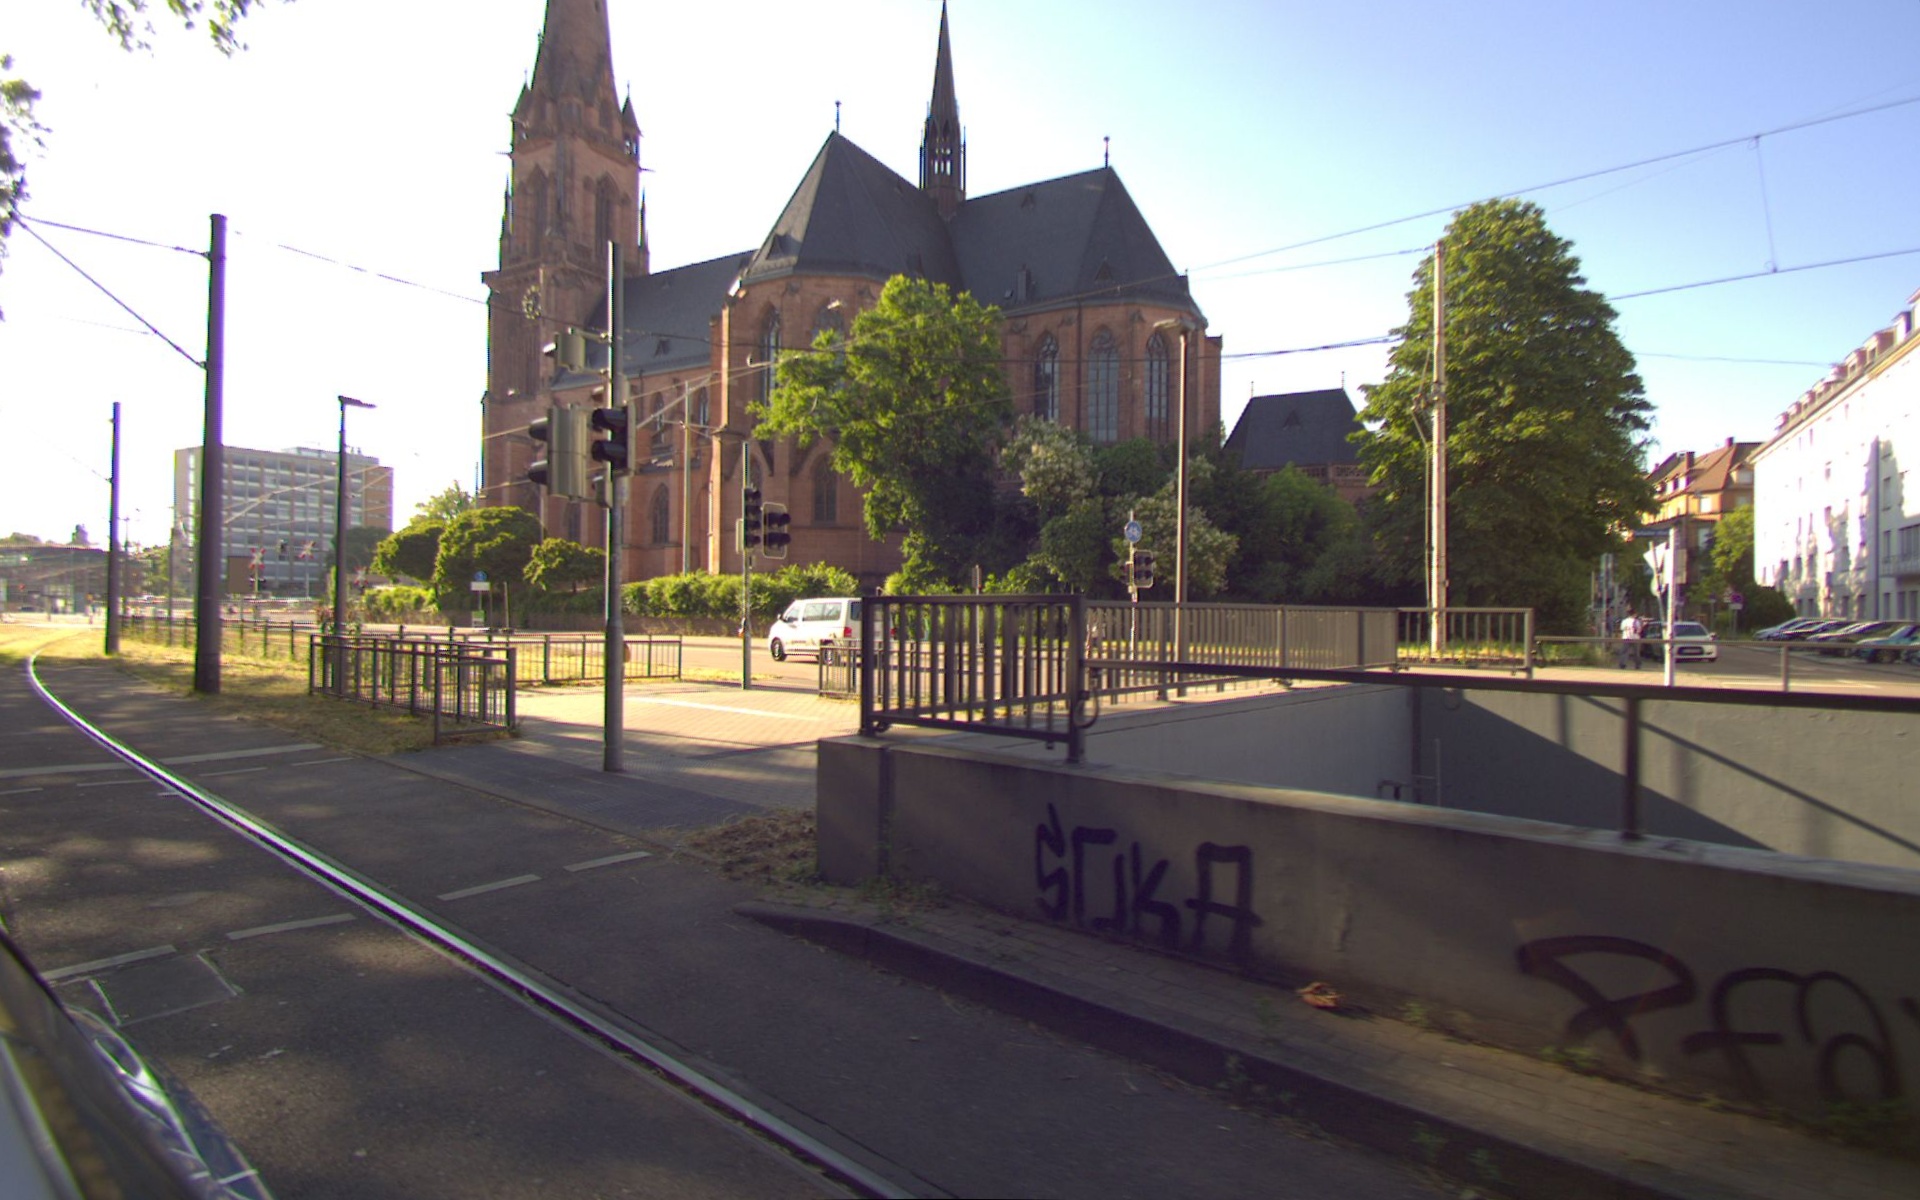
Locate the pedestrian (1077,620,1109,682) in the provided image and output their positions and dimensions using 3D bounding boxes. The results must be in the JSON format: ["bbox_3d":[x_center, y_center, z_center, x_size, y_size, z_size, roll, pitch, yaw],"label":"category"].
[{"bbox_3d":[3.714,1.412,28.200,0.752,1.686,0.490,-1,-1,28],"label":"pedestrian"}]

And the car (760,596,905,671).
[{"bbox_3d":[-3.996,1.016,30.897,1.968,2.029,5.022,6,-5,-38],"label":"car"}]

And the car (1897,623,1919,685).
[{"bbox_3d":[31.680,1.653,30.971,3.984,1.874,1.980,-1,-1,30],"label":"car"}]

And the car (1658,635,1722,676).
[{"bbox_3d":[26.813,1.999,37.259,1.694,1.431,3.634,-1,-2,33],"label":"car"}]

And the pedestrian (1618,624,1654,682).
[{"bbox_3d":[18.911,1.469,28.297,0.728,1.568,0.650,-1,-2,42],"label":"pedestrian"}]

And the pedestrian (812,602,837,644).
[{"bbox_3d":[-5.850,1.004,43.688,0.946,1.798,0.579,-1,-1,39],"label":"pedestrian"}]

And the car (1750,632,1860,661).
[{"bbox_3d":[43.345,2.373,52.033,3.984,1.431,1.980,-1,-1,30],"label":"car"}]

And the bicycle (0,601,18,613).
[{"bbox_3d":[-90.793,0.674,95.963,2.032,1.091,0.612,0,-1,-30],"label":"bicycle"}]

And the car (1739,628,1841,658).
[{"bbox_3d":[45.278,2.325,55.294,3.984,1.564,1.980,-1,-1,30],"label":"car"}]

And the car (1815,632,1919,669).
[{"bbox_3d":[37.926,2.058,41.526,3.984,1.431,1.980,-1,-1,30],"label":"car"}]

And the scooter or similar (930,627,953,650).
[{"bbox_3d":[-0.777,1.614,42.385,0.914,0.943,0.306,-1,-1,22],"label":"scooter or similar"}]

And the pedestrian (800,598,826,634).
[{"bbox_3d":[-6.278,0.676,43.214,0.946,1.500,0.579,-1,-1,39],"label":"pedestrian"}]

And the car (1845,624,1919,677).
[{"bbox_3d":[35.102,1.820,36.834,3.984,1.874,1.980,-1,-1,30],"label":"car"}]

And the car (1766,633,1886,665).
[{"bbox_3d":[41.248,2.326,48.338,3.984,1.431,1.980,-1,-1,30],"label":"car"}]

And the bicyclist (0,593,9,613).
[{"bbox_3d":[-90.816,0.258,95.958,0.763,1.886,0.612,0,-1,-30],"label":"bicyclist"}]

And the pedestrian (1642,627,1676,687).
[{"bbox_3d":[19.697,1.590,28.509,0.720,1.667,0.505,-1,-3,41],"label":"pedestrian"}]
